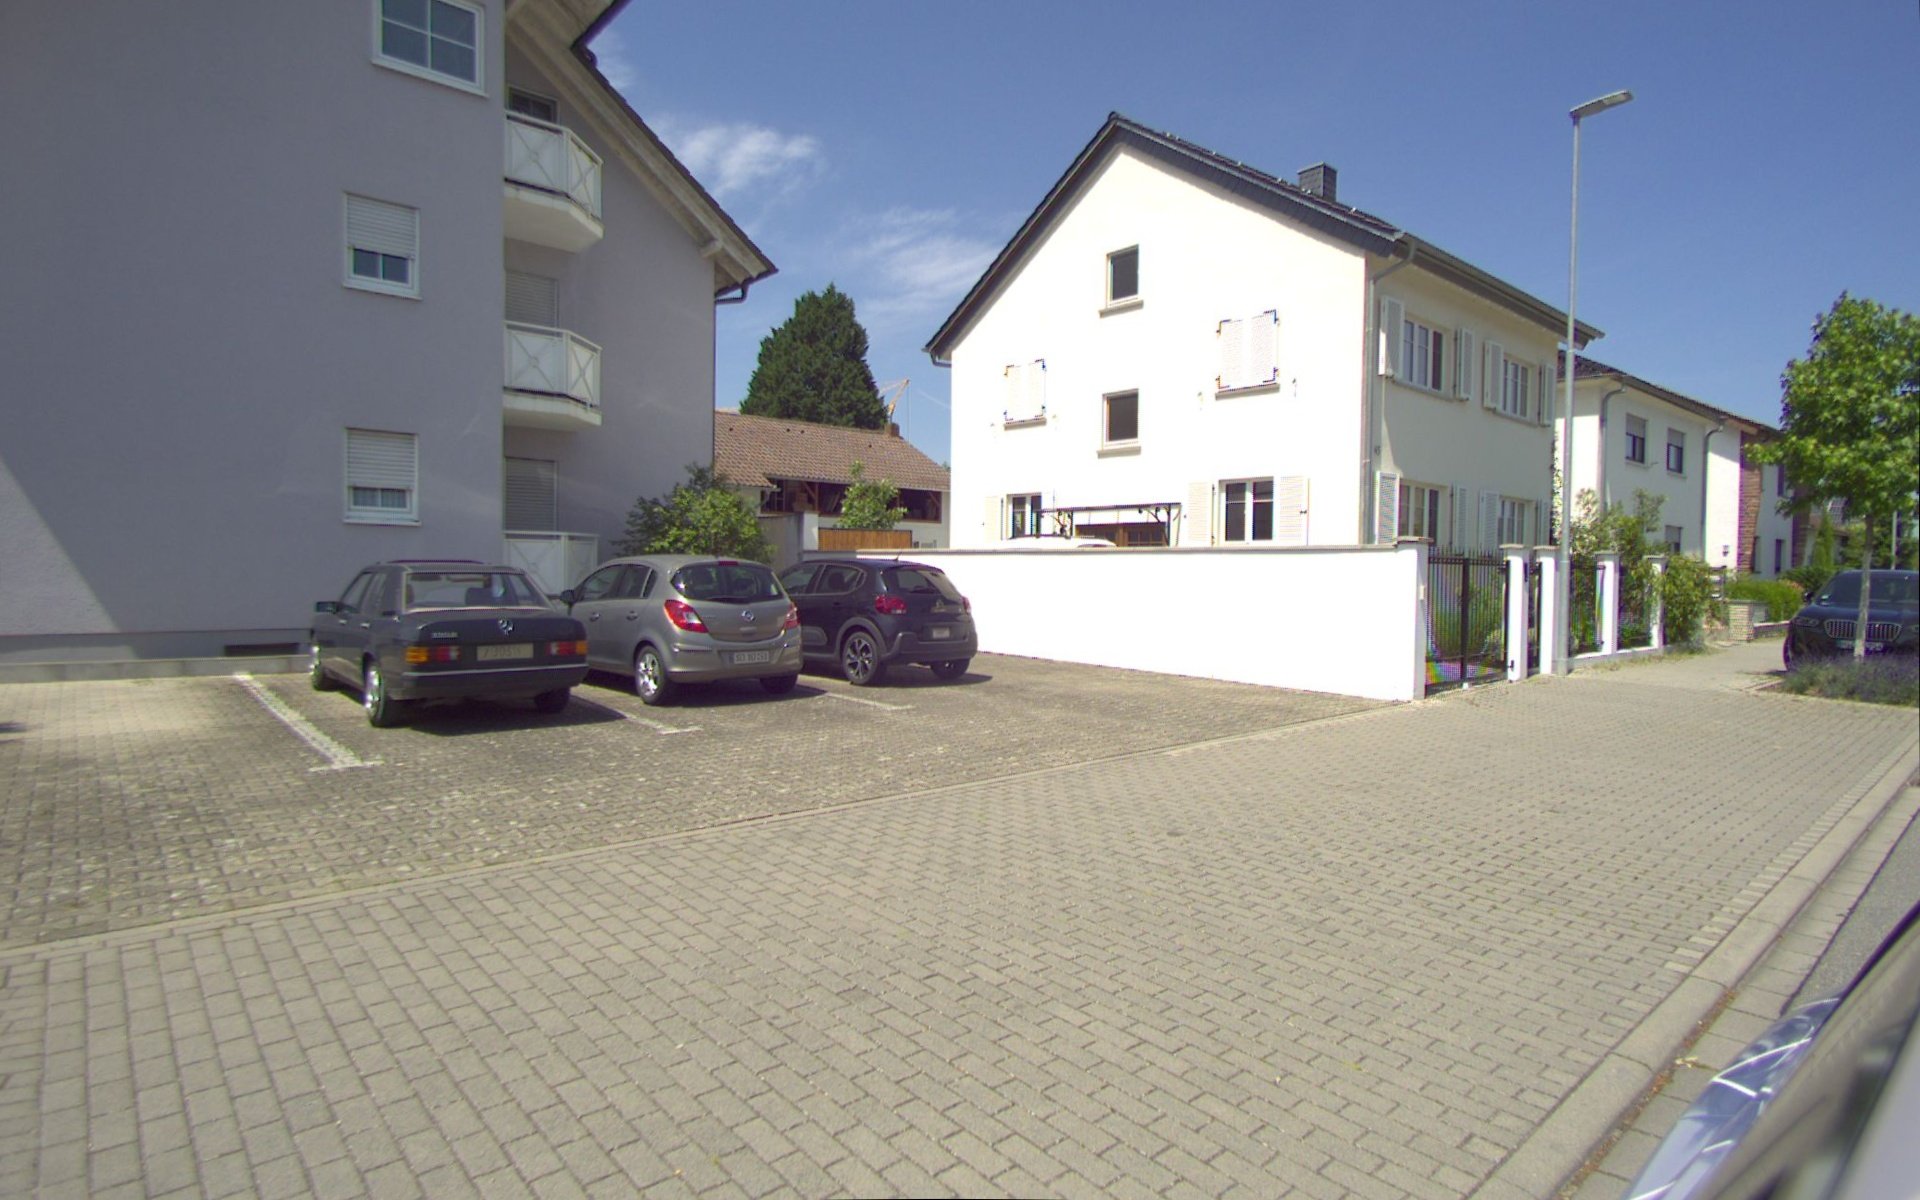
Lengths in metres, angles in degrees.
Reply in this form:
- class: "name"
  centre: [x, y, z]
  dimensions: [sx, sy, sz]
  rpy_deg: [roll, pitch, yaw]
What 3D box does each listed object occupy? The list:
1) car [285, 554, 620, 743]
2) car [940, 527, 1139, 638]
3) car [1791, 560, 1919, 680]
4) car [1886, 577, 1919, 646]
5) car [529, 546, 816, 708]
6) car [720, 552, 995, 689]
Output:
- class: "car"
  centre: [-4.948, 0.280, 9.555]
  dimensions: [1.637, 1.391, 4.204]
  rpy_deg: [-1, 2, -44]
- class: "car"
  centre: [1.408, -0.356, 18.697]
  dimensions: [1.741, 1.834, 3.391]
  rpy_deg: [0, 2, -42]
- class: "car"
  centre: [14.827, 0.263, 16.041]
  dimensions: [4.485, 1.677, 1.818]
  rpy_deg: [0, 2, -41]
- class: "car"
  centre: [21.703, 0.234, 22.043]
  dimensions: [4.022, 1.437, 1.818]
  rpy_deg: [-1, 2, -41]
- class: "car"
  centre: [-3.289, 0.188, 11.245]
  dimensions: [1.637, 1.513, 3.447]
  rpy_deg: [-1, 2, -44]
- class: "car"
  centre: [-1.400, 0.163, 13.008]
  dimensions: [3.499, 1.515, 1.639]
  rpy_deg: [2, 2, 43]
